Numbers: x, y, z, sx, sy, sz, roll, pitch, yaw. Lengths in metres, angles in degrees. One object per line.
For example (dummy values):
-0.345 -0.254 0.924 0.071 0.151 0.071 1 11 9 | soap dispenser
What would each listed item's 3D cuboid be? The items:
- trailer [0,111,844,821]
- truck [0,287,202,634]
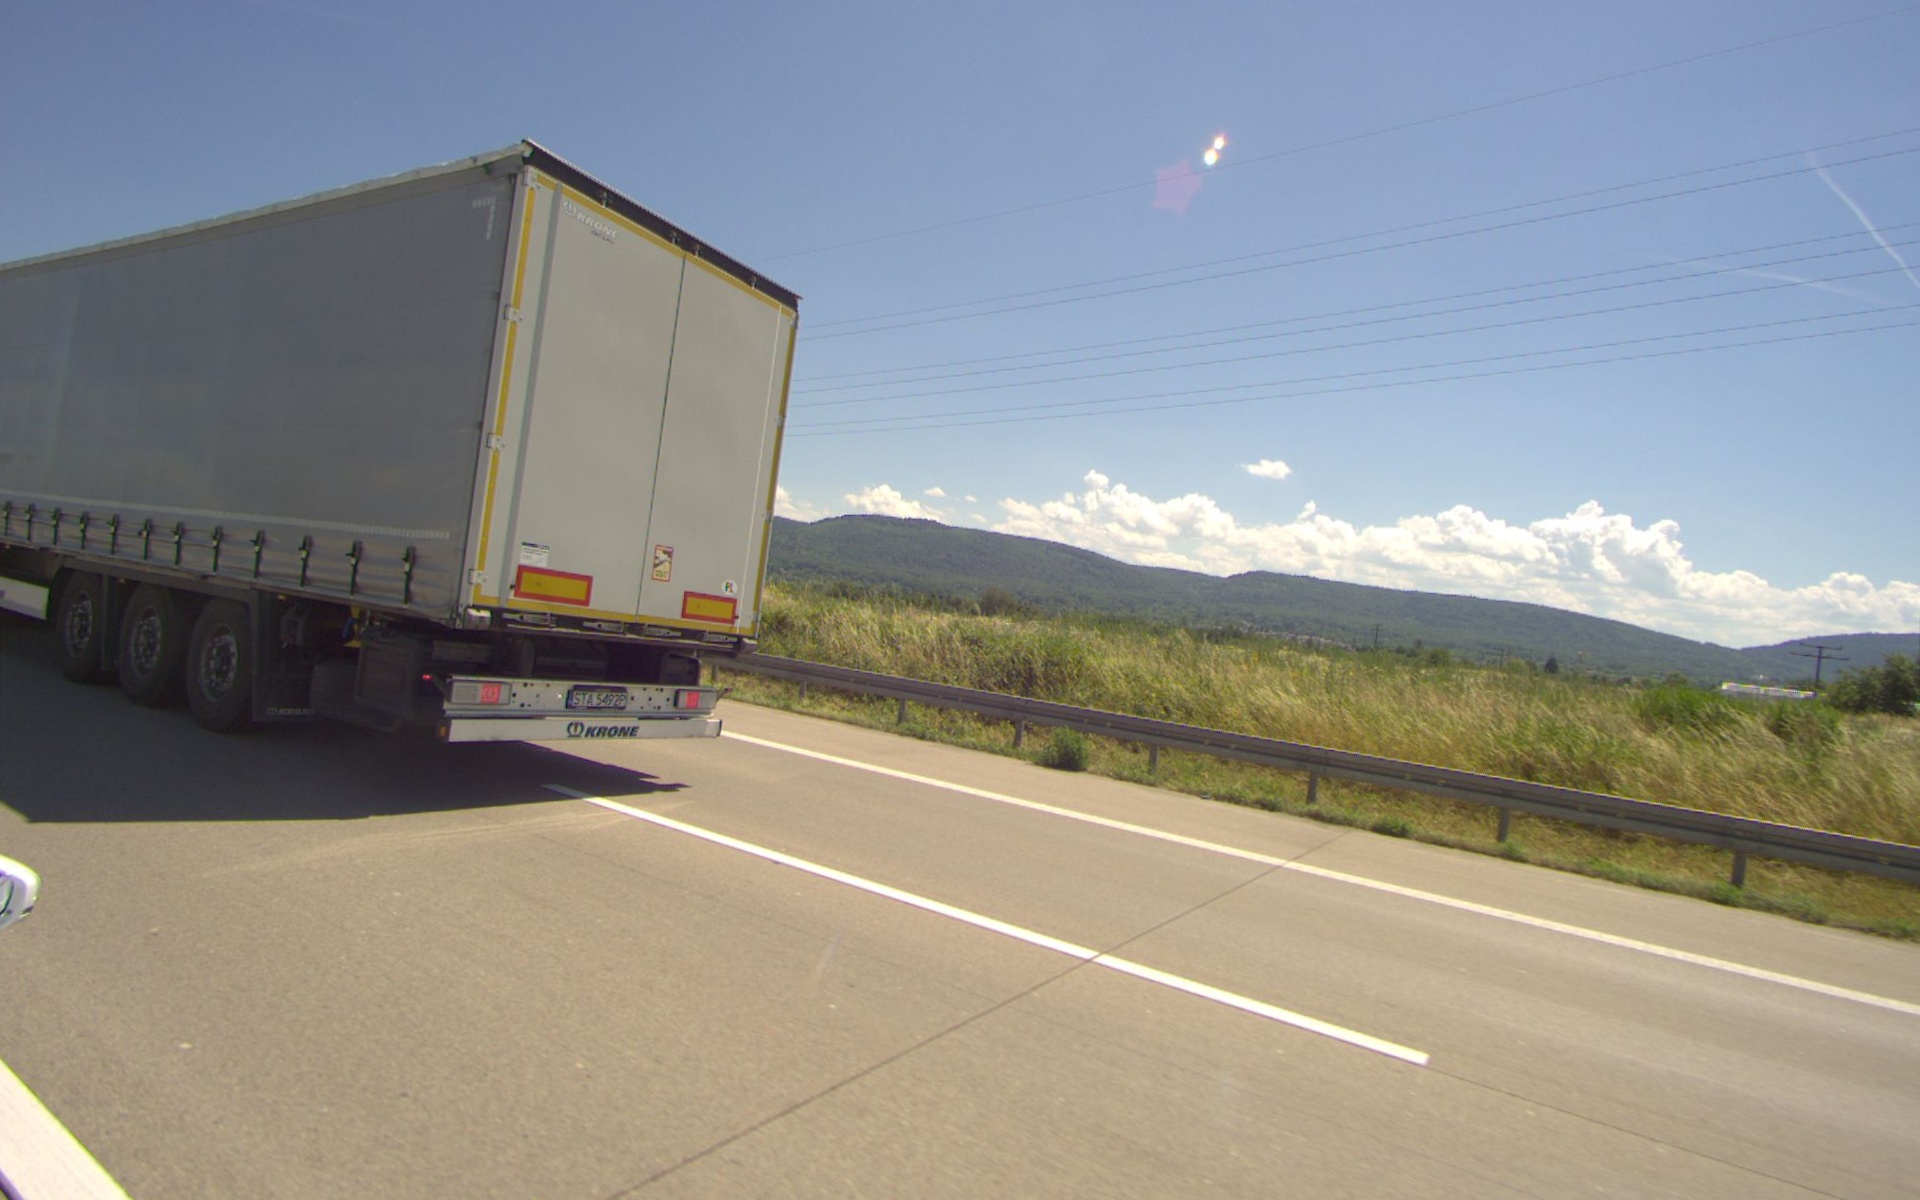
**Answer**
-7.946 -1.298 10.630 13.968 4.107 3.025 7 -2 31 | trailer
-13.992 -1.987 14.225 5.385 4.109 2.991 7 -2 30 | truck
